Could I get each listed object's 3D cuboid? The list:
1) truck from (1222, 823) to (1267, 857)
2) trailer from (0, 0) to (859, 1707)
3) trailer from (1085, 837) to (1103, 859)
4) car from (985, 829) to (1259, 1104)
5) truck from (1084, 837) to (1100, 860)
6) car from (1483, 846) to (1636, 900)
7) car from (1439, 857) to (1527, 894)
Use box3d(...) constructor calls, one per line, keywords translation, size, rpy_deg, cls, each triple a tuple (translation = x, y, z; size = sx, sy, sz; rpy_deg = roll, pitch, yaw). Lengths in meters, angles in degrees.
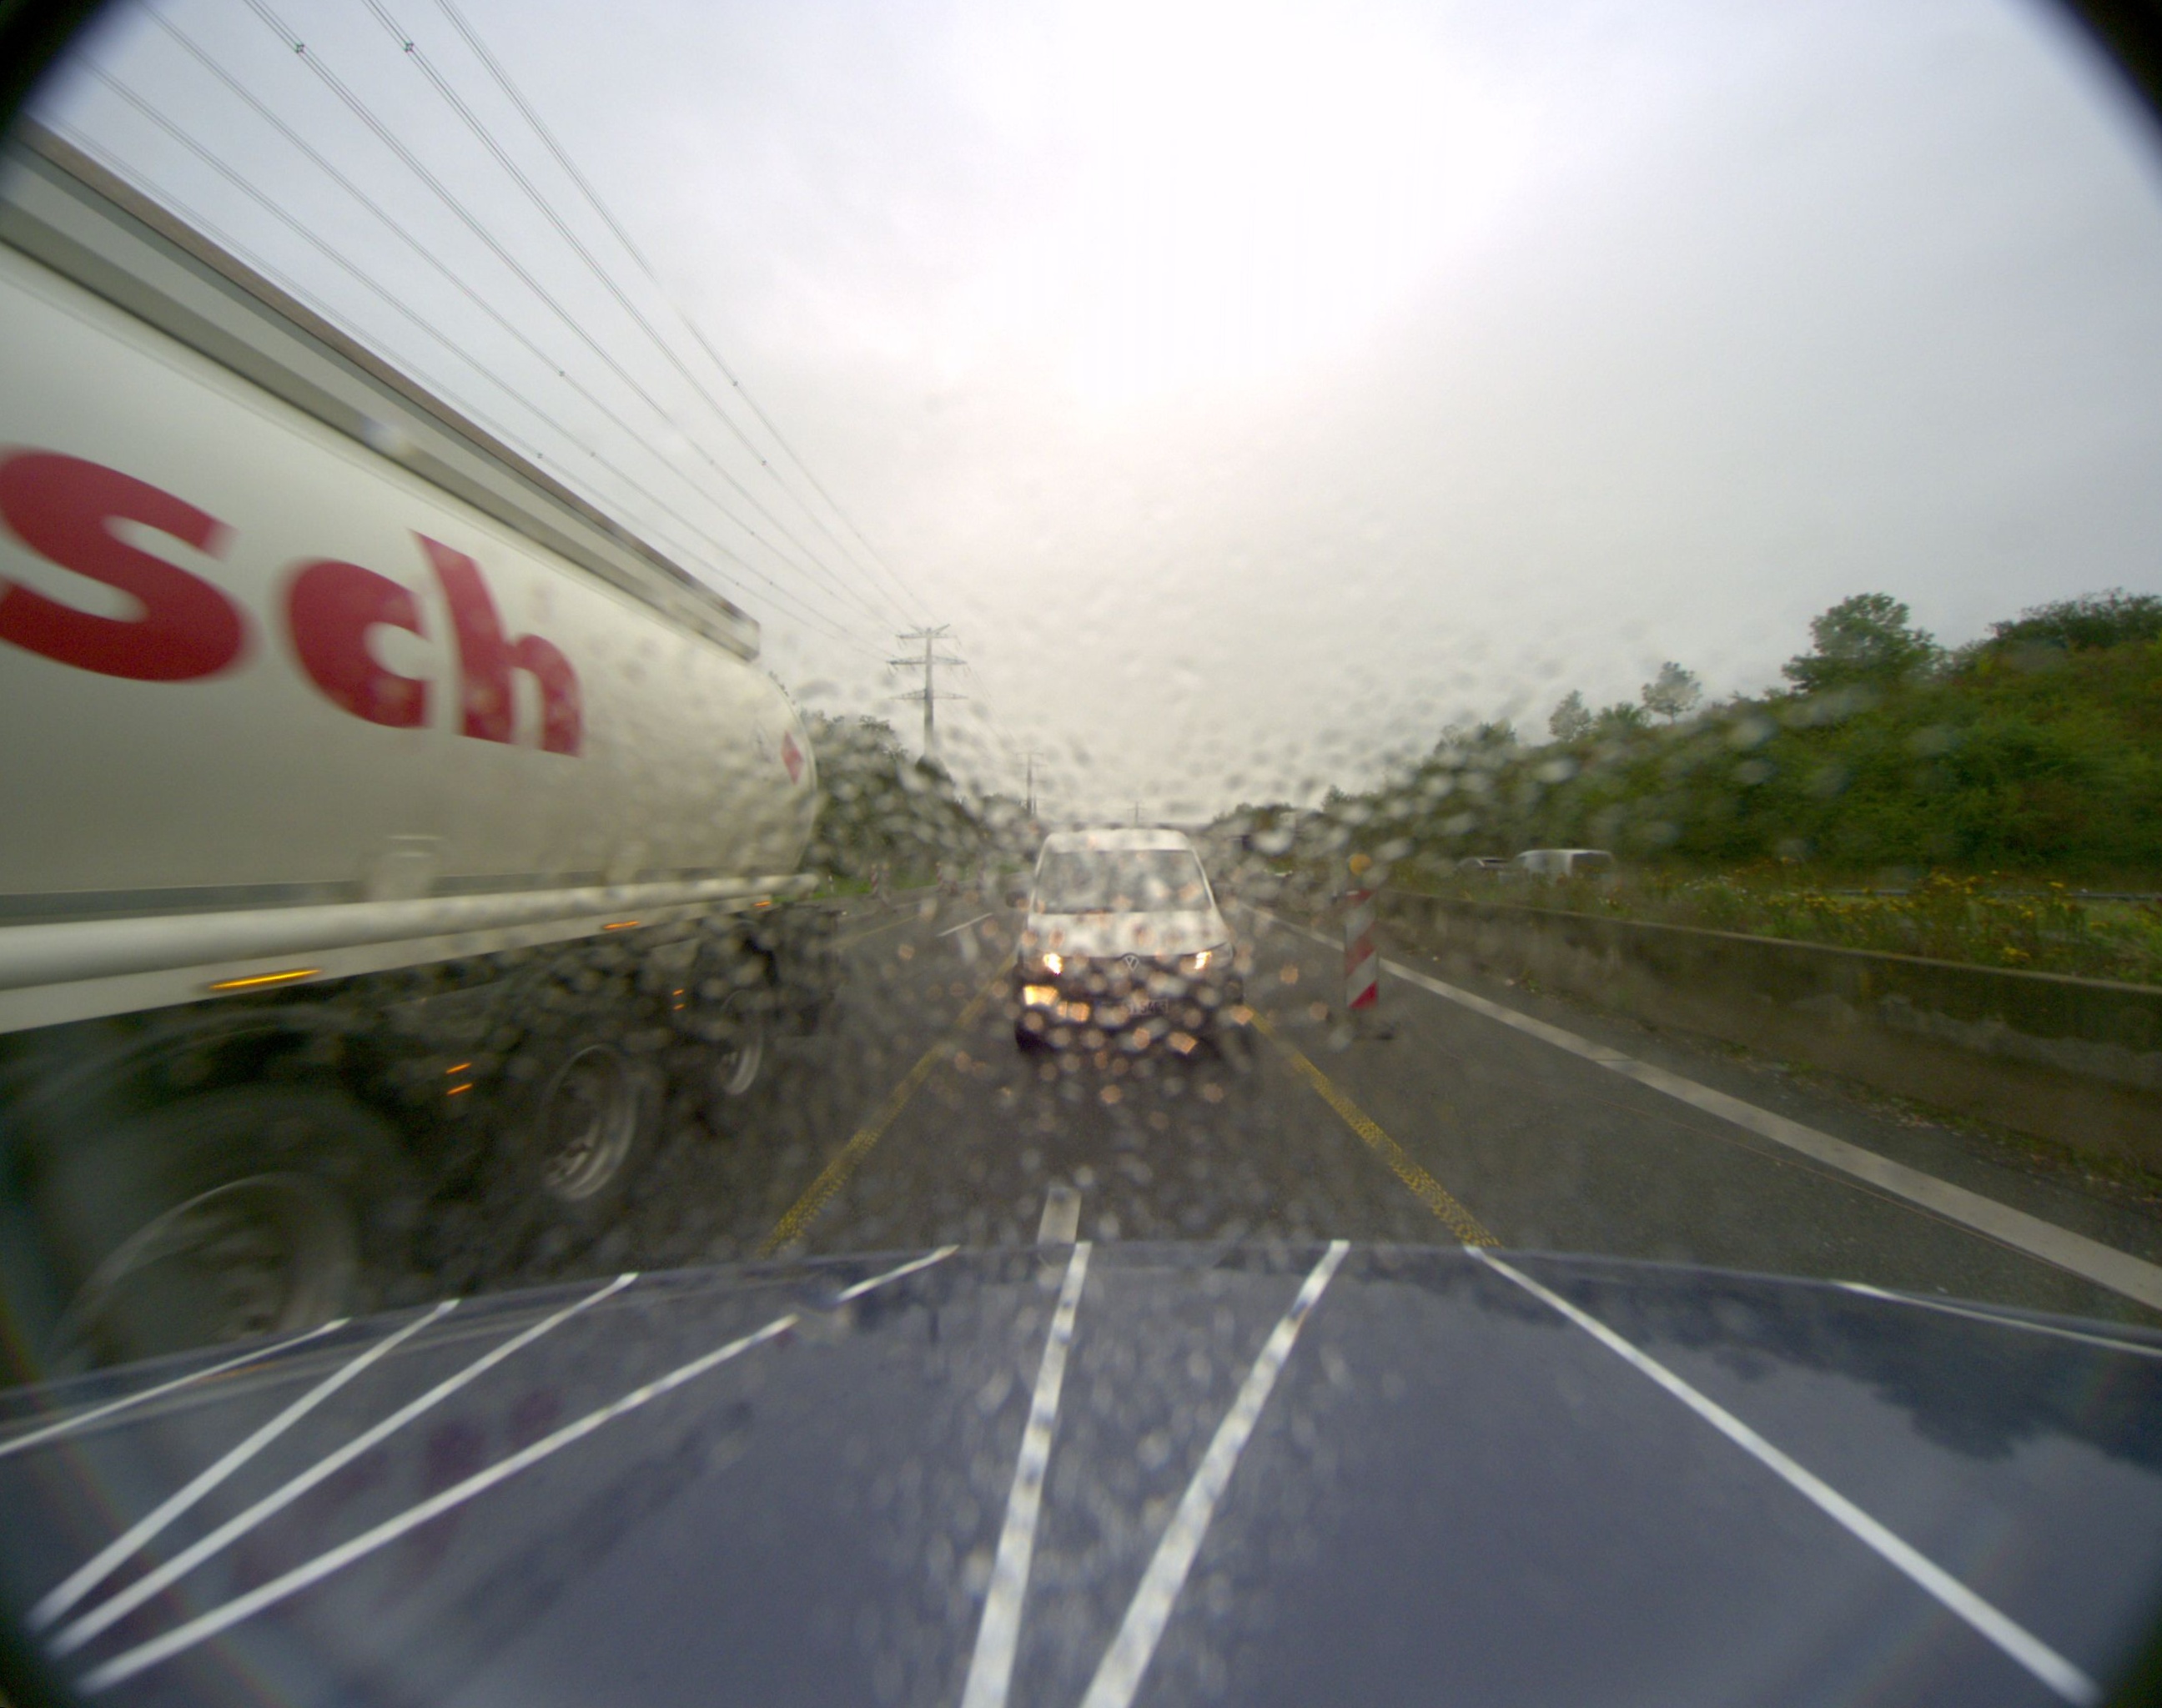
box3d(translation=(23.071, -1.971, 108.405), size=(3.414, 4.498, 17.288), rpy_deg=(-1, 1, 3), cls="truck")
box3d(translation=(-3.245, -0.123, 0.801), size=(2.644, 3.871, 10.542), rpy_deg=(-2, 1, 1), cls="trailer")
box3d(translation=(2.514, -1.094, 141.712), size=(2.525, 3.812, 12.352), rpy_deg=(-2, 1, 4), cls="trailer")
box3d(translation=(0.294, 0.752, 7.412), size=(1.770, 1.774, 4.647), rpy_deg=(-2, 0, 0), cls="car")
box3d(translation=(1.973, -1.028, 135.408), size=(2.553, 3.924, 4.000), rpy_deg=(-2, 1, 4), cls="truck")
box3d(translation=(14.887, 0.556, 24.001), size=(1.873, 1.534, 4.747), rpy_deg=(0, 0, 0), cls="car")
box3d(translation=(18.988, 0.971, 36.120), size=(1.998, 1.652, 4.296), rpy_deg=(0, 0, 1), cls="car")
